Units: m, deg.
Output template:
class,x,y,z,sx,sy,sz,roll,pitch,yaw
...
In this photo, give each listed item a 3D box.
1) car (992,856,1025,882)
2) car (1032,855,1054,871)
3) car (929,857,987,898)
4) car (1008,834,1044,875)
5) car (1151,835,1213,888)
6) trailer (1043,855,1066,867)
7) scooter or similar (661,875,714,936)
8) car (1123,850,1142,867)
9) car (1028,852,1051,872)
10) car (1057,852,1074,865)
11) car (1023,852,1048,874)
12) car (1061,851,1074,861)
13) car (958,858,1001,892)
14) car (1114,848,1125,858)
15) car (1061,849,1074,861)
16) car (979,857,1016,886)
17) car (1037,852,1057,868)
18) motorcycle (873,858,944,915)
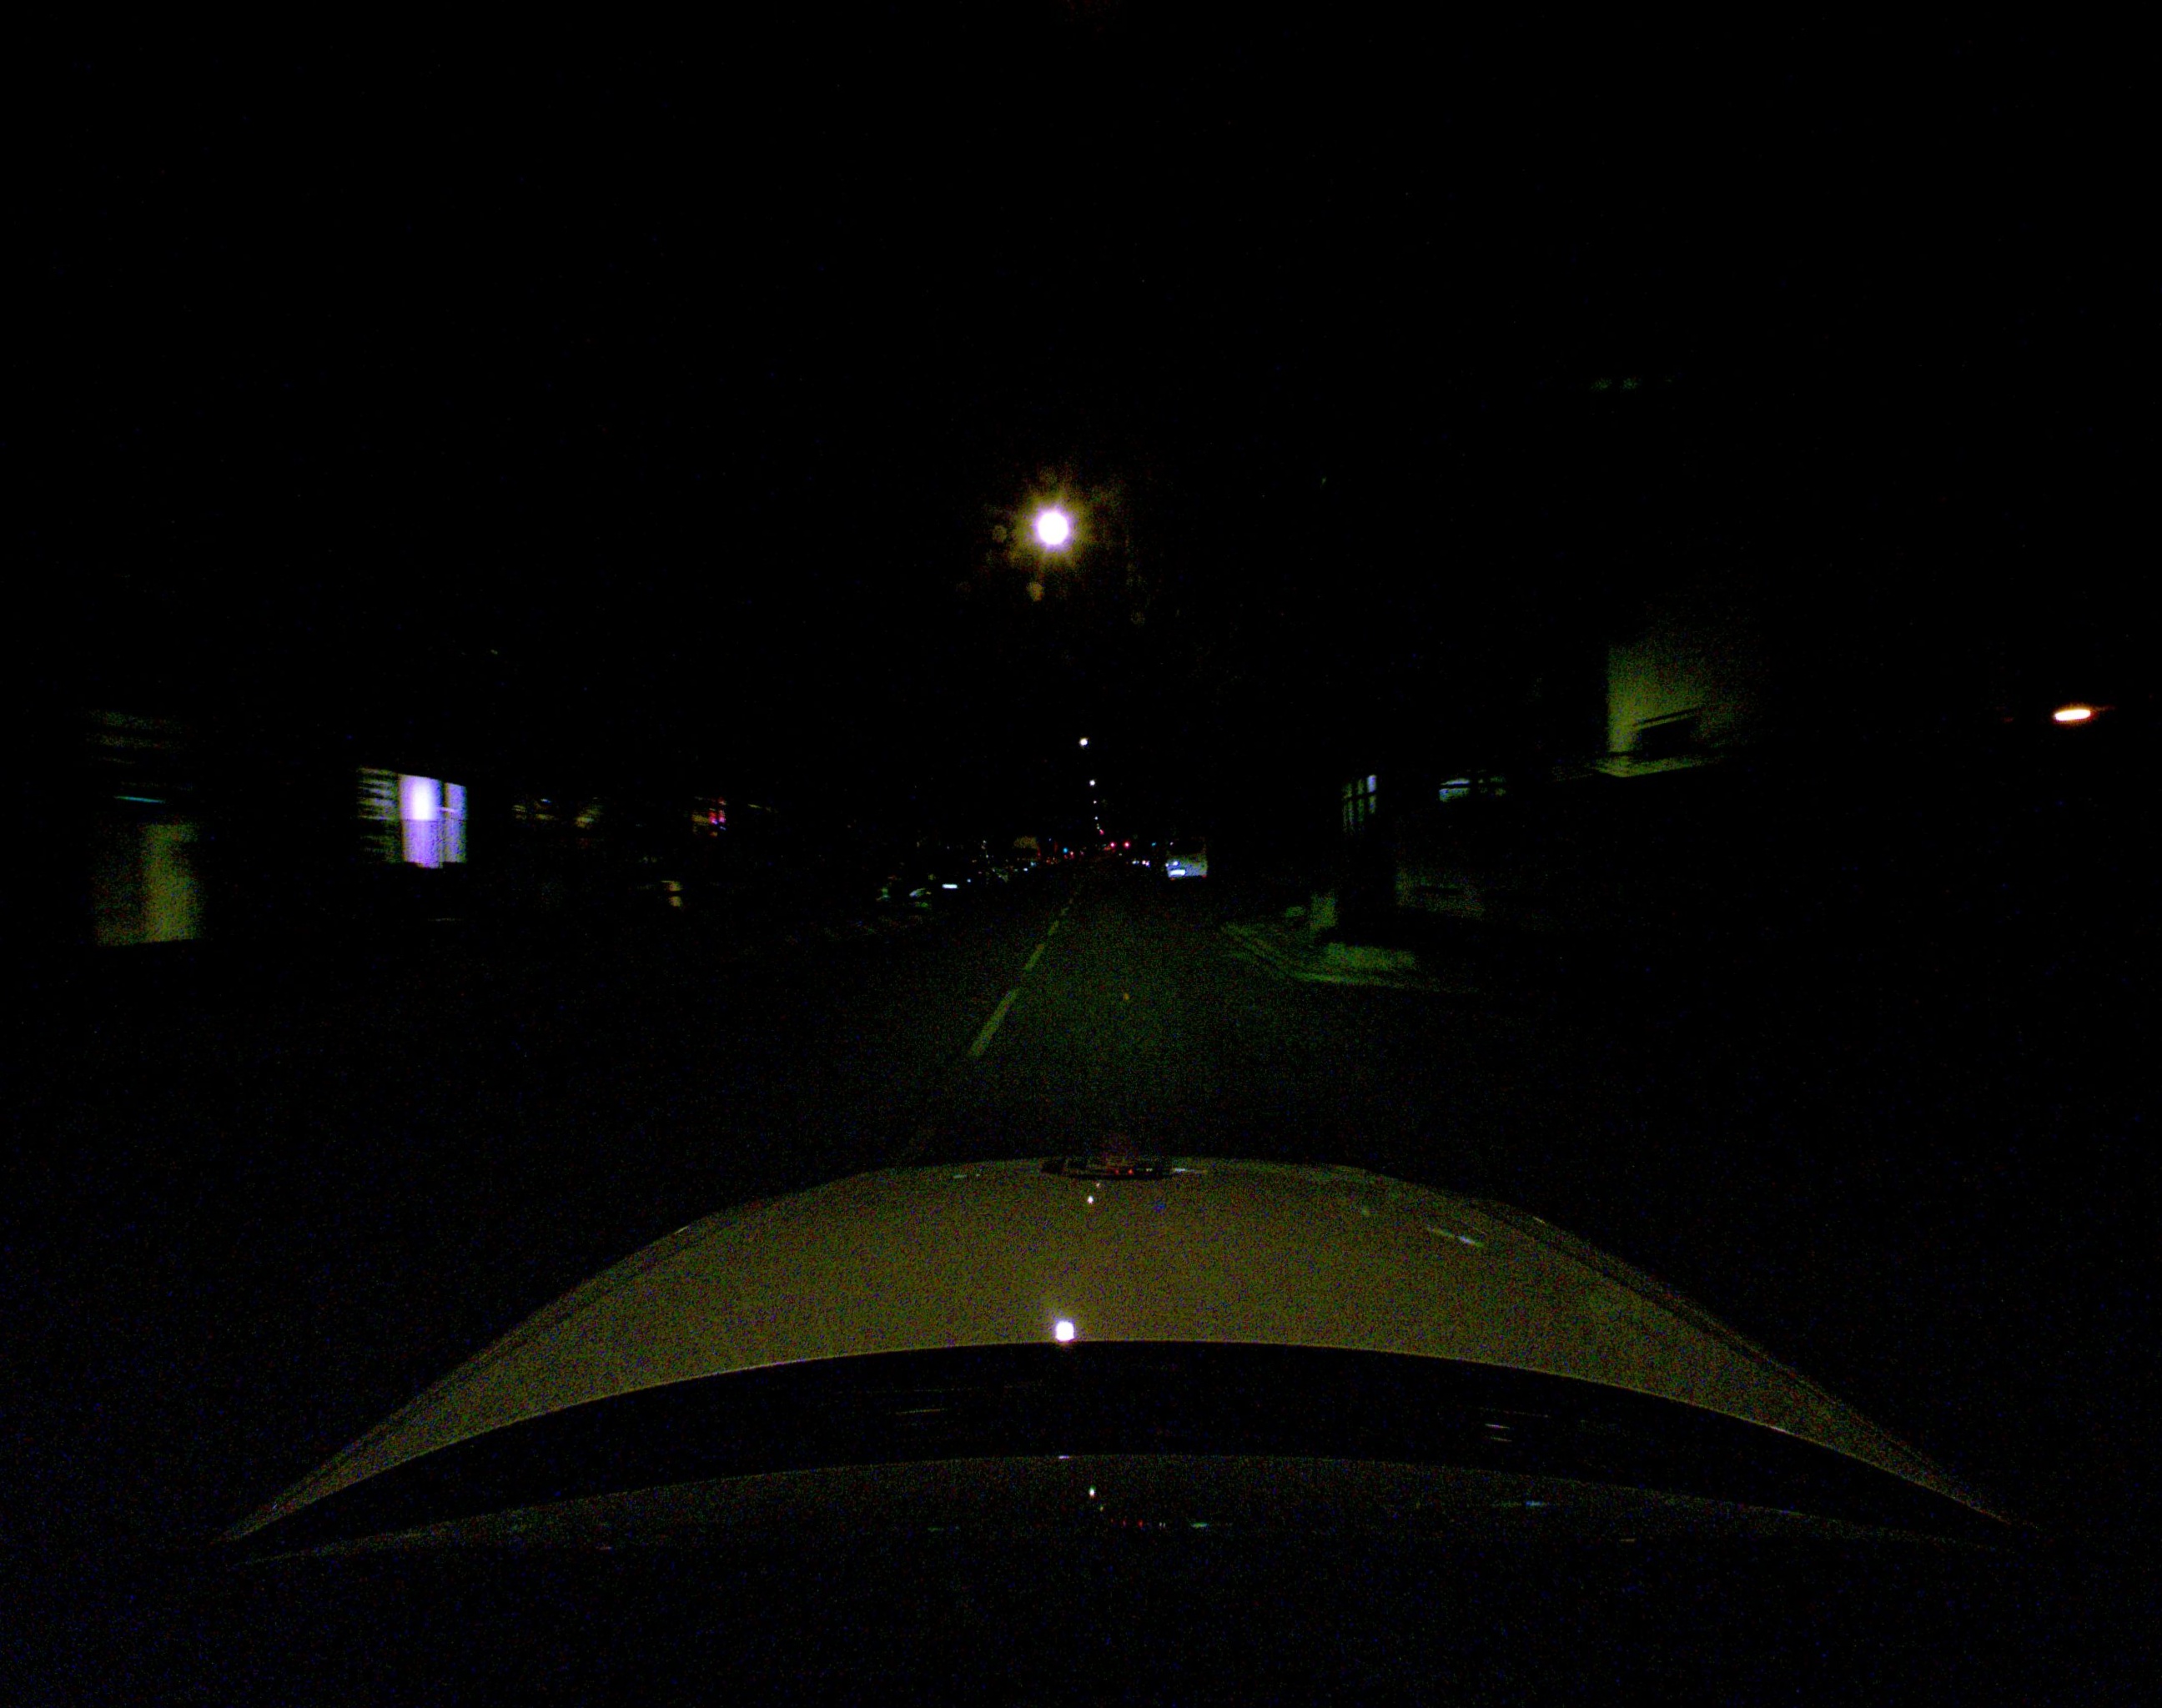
class,x,y,z,sx,sy,sz,roll,pitch,yaw
car,-4.337,0.860,49.166,1.640,1.505,3.861,-1,0,0
car,-3.560,0.812,76.672,1.698,1.411,4.634,-2,0,1
car,-4.787,0.888,32.178,1.637,1.504,3.904,0,0,1
car,-4.006,0.052,60.125,2.171,2.909,4.910,0,0,1
car,4.130,0.302,34.083,1.944,1.964,4.603,-3,0,0
trailer,-2.841,0.746,89.390,2.102,1.335,5.439,1,0,3
scooter or similar,-8.341,1.068,17.303,0.365,1.204,1.428,-2,-1,2
car,4.826,0.421,76.221,1.661,1.429,4.152,-4,0,4
car,-3.579,0.690,71.209,1.736,1.606,4.297,-2,0,0
car,-1.947,0.522,104.363,1.815,1.599,4.076,1,0,3
car,-3.649,0.681,65.492,1.736,1.606,4.115,-2,1,0
car,-2.029,0.306,126.410,1.693,1.433,3.831,1,0,3
car,-4.602,0.920,37.286,1.440,1.429,3.904,1,0,1
car,6.905,-0.139,146.778,1.846,1.654,4.211,-2,0,2
car,-2.147,0.113,132.969,1.815,1.811,4.213,1,0,3
car,-4.377,0.888,43.084,1.542,1.455,3.368,0,0,1
car,-3.405,0.553,81.670,1.710,1.502,4.206,1,0,1
motorcycle,-4.835,0.900,22.844,1.907,1.550,0.635,0,0,-18
